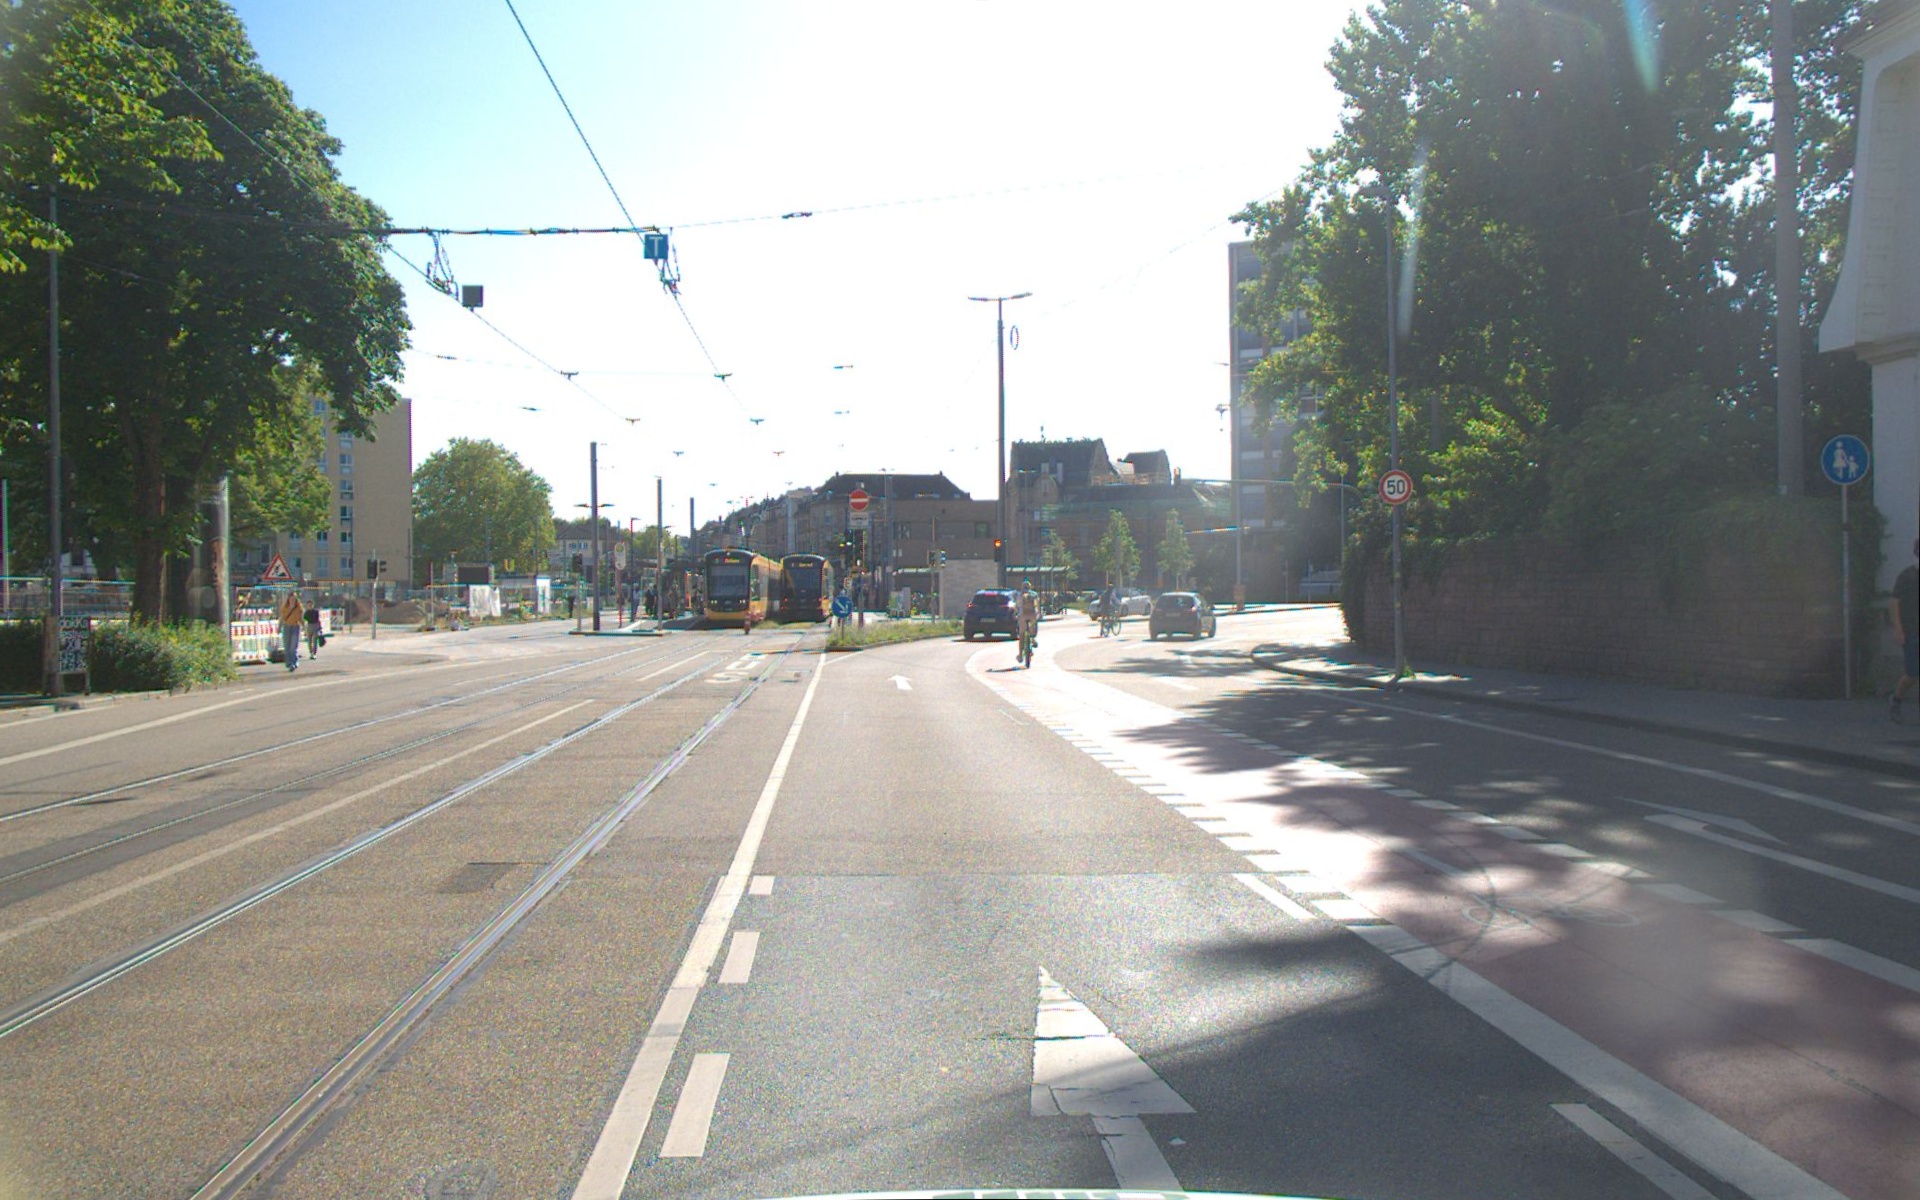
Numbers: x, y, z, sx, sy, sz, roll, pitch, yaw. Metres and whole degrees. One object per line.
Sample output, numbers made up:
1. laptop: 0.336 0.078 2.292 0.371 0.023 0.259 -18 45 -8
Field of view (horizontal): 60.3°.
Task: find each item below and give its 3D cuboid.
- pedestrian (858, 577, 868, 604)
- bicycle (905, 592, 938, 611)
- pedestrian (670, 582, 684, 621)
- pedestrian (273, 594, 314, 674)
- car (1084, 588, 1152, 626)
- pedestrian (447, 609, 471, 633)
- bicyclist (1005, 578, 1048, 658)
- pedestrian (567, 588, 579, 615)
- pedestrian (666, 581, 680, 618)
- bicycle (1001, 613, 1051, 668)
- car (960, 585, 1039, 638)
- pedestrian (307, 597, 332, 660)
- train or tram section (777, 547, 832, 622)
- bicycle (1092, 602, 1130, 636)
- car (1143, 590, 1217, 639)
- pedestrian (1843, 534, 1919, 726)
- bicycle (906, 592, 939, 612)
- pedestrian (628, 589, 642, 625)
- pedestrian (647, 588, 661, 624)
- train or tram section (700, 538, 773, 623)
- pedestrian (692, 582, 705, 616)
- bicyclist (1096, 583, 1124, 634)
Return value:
1. pedestrian: -7.120 -0.692 121.239 0.649 1.987 0.626 -1 0 -16
2. bicycle: -2.236 0.086 96.114 1.896 1.122 0.598 -1 1 -6
3. pedestrian: -13.605 0.088 79.567 0.614 1.859 0.661 -1 0 -5
4. pedestrian: -14.658 0.741 36.391 0.624 1.726 0.817 -2 0 -12
5. car: 7.323 0.314 76.463 1.670 1.672 3.704 1 1 31
6. pedestrian: -23.146 0.960 76.432 0.880 1.064 0.655 -1 0 -3
7. bicyclist: 1.458 0.389 36.083 0.690 1.704 1.102 1 1 16
8. pedestrian: -24.831 0.087 106.204 0.614 1.727 0.661 -1 0 -5
9. pedestrian: -14.672 -0.043 84.564 0.614 1.859 0.661 -1 0 -5
10. bicycle: 1.453 0.870 36.091 0.690 1.124 1.718 1 1 16
11. car: 1.321 0.351 53.841 1.751 1.632 3.715 1 1 15
12. pedestrian: -17.790 0.782 45.929 0.611 1.726 0.674 -1 0 -25
13. train or tram section: -8.391 -0.877 90.349 2.688 3.715 13.773 -1 1 -5
14. bicycle: 5.193 0.631 56.793 0.690 1.073 2.314 2 1 20
15. car: 7.413 0.459 55.451 1.751 1.537 3.714 1 1 19
16. pedestrian: 9.874 0.285 17.241 0.625 1.937 1.134 -3 0 -3
17. bicycle: -2.163 0.086 95.349 1.896 1.122 0.598 -1 1 -6
18. pedestrian: -16.978 0.363 86.367 0.614 1.859 0.661 -1 0 -5
19. pedestrian: -16.033 0.323 86.635 0.614 1.859 0.661 -1 0 -5
20. train or tram section: -10.617 -0.943 79.716 2.688 3.715 13.773 -1 1 -5
21. pedestrian: -14.369 -0.053 90.879 0.614 1.859 0.661 -1 0 -5
22. bicyclist: 5.123 0.284 56.574 0.690 1.730 0.987 2 1 21
